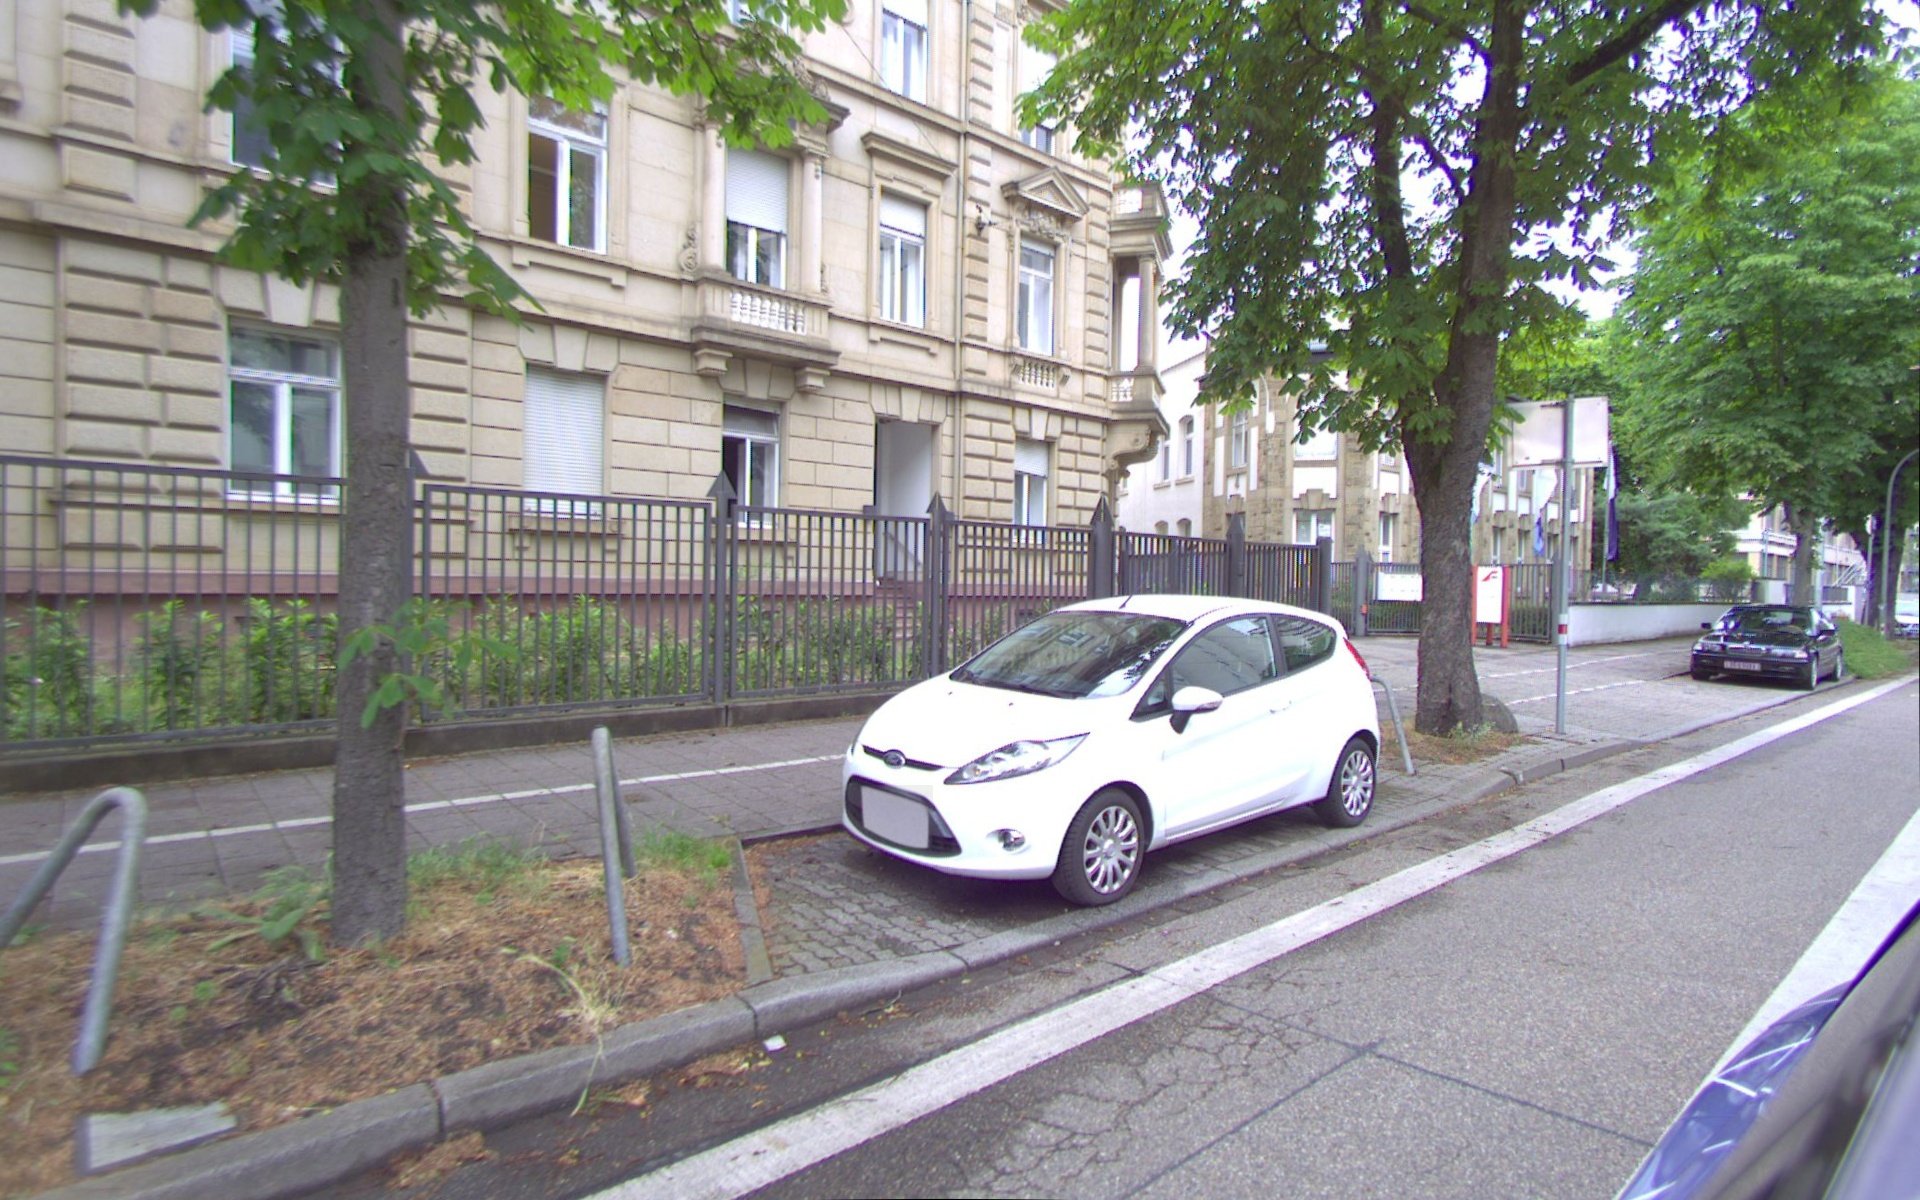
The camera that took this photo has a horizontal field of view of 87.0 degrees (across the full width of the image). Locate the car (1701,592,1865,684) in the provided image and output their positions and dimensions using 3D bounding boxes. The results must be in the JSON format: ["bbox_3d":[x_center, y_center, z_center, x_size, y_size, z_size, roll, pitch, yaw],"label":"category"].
[{"bbox_3d":[14.771,0.595,18.100,3.770,1.387,1.605,0,3,-41],"label":"car"}]

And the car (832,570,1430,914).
[{"bbox_3d":[1.222,0.592,6.243,3.698,1.453,1.631,0,3,-41],"label":"car"}]

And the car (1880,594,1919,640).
[{"bbox_3d":[31.233,0.545,32.798,3.770,1.387,1.605,0,3,-41],"label":"car"}]

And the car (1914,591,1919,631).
[{"bbox_3d":[36.727,0.440,37.473,3.770,1.442,1.605,0,3,-41],"label":"car"}]
